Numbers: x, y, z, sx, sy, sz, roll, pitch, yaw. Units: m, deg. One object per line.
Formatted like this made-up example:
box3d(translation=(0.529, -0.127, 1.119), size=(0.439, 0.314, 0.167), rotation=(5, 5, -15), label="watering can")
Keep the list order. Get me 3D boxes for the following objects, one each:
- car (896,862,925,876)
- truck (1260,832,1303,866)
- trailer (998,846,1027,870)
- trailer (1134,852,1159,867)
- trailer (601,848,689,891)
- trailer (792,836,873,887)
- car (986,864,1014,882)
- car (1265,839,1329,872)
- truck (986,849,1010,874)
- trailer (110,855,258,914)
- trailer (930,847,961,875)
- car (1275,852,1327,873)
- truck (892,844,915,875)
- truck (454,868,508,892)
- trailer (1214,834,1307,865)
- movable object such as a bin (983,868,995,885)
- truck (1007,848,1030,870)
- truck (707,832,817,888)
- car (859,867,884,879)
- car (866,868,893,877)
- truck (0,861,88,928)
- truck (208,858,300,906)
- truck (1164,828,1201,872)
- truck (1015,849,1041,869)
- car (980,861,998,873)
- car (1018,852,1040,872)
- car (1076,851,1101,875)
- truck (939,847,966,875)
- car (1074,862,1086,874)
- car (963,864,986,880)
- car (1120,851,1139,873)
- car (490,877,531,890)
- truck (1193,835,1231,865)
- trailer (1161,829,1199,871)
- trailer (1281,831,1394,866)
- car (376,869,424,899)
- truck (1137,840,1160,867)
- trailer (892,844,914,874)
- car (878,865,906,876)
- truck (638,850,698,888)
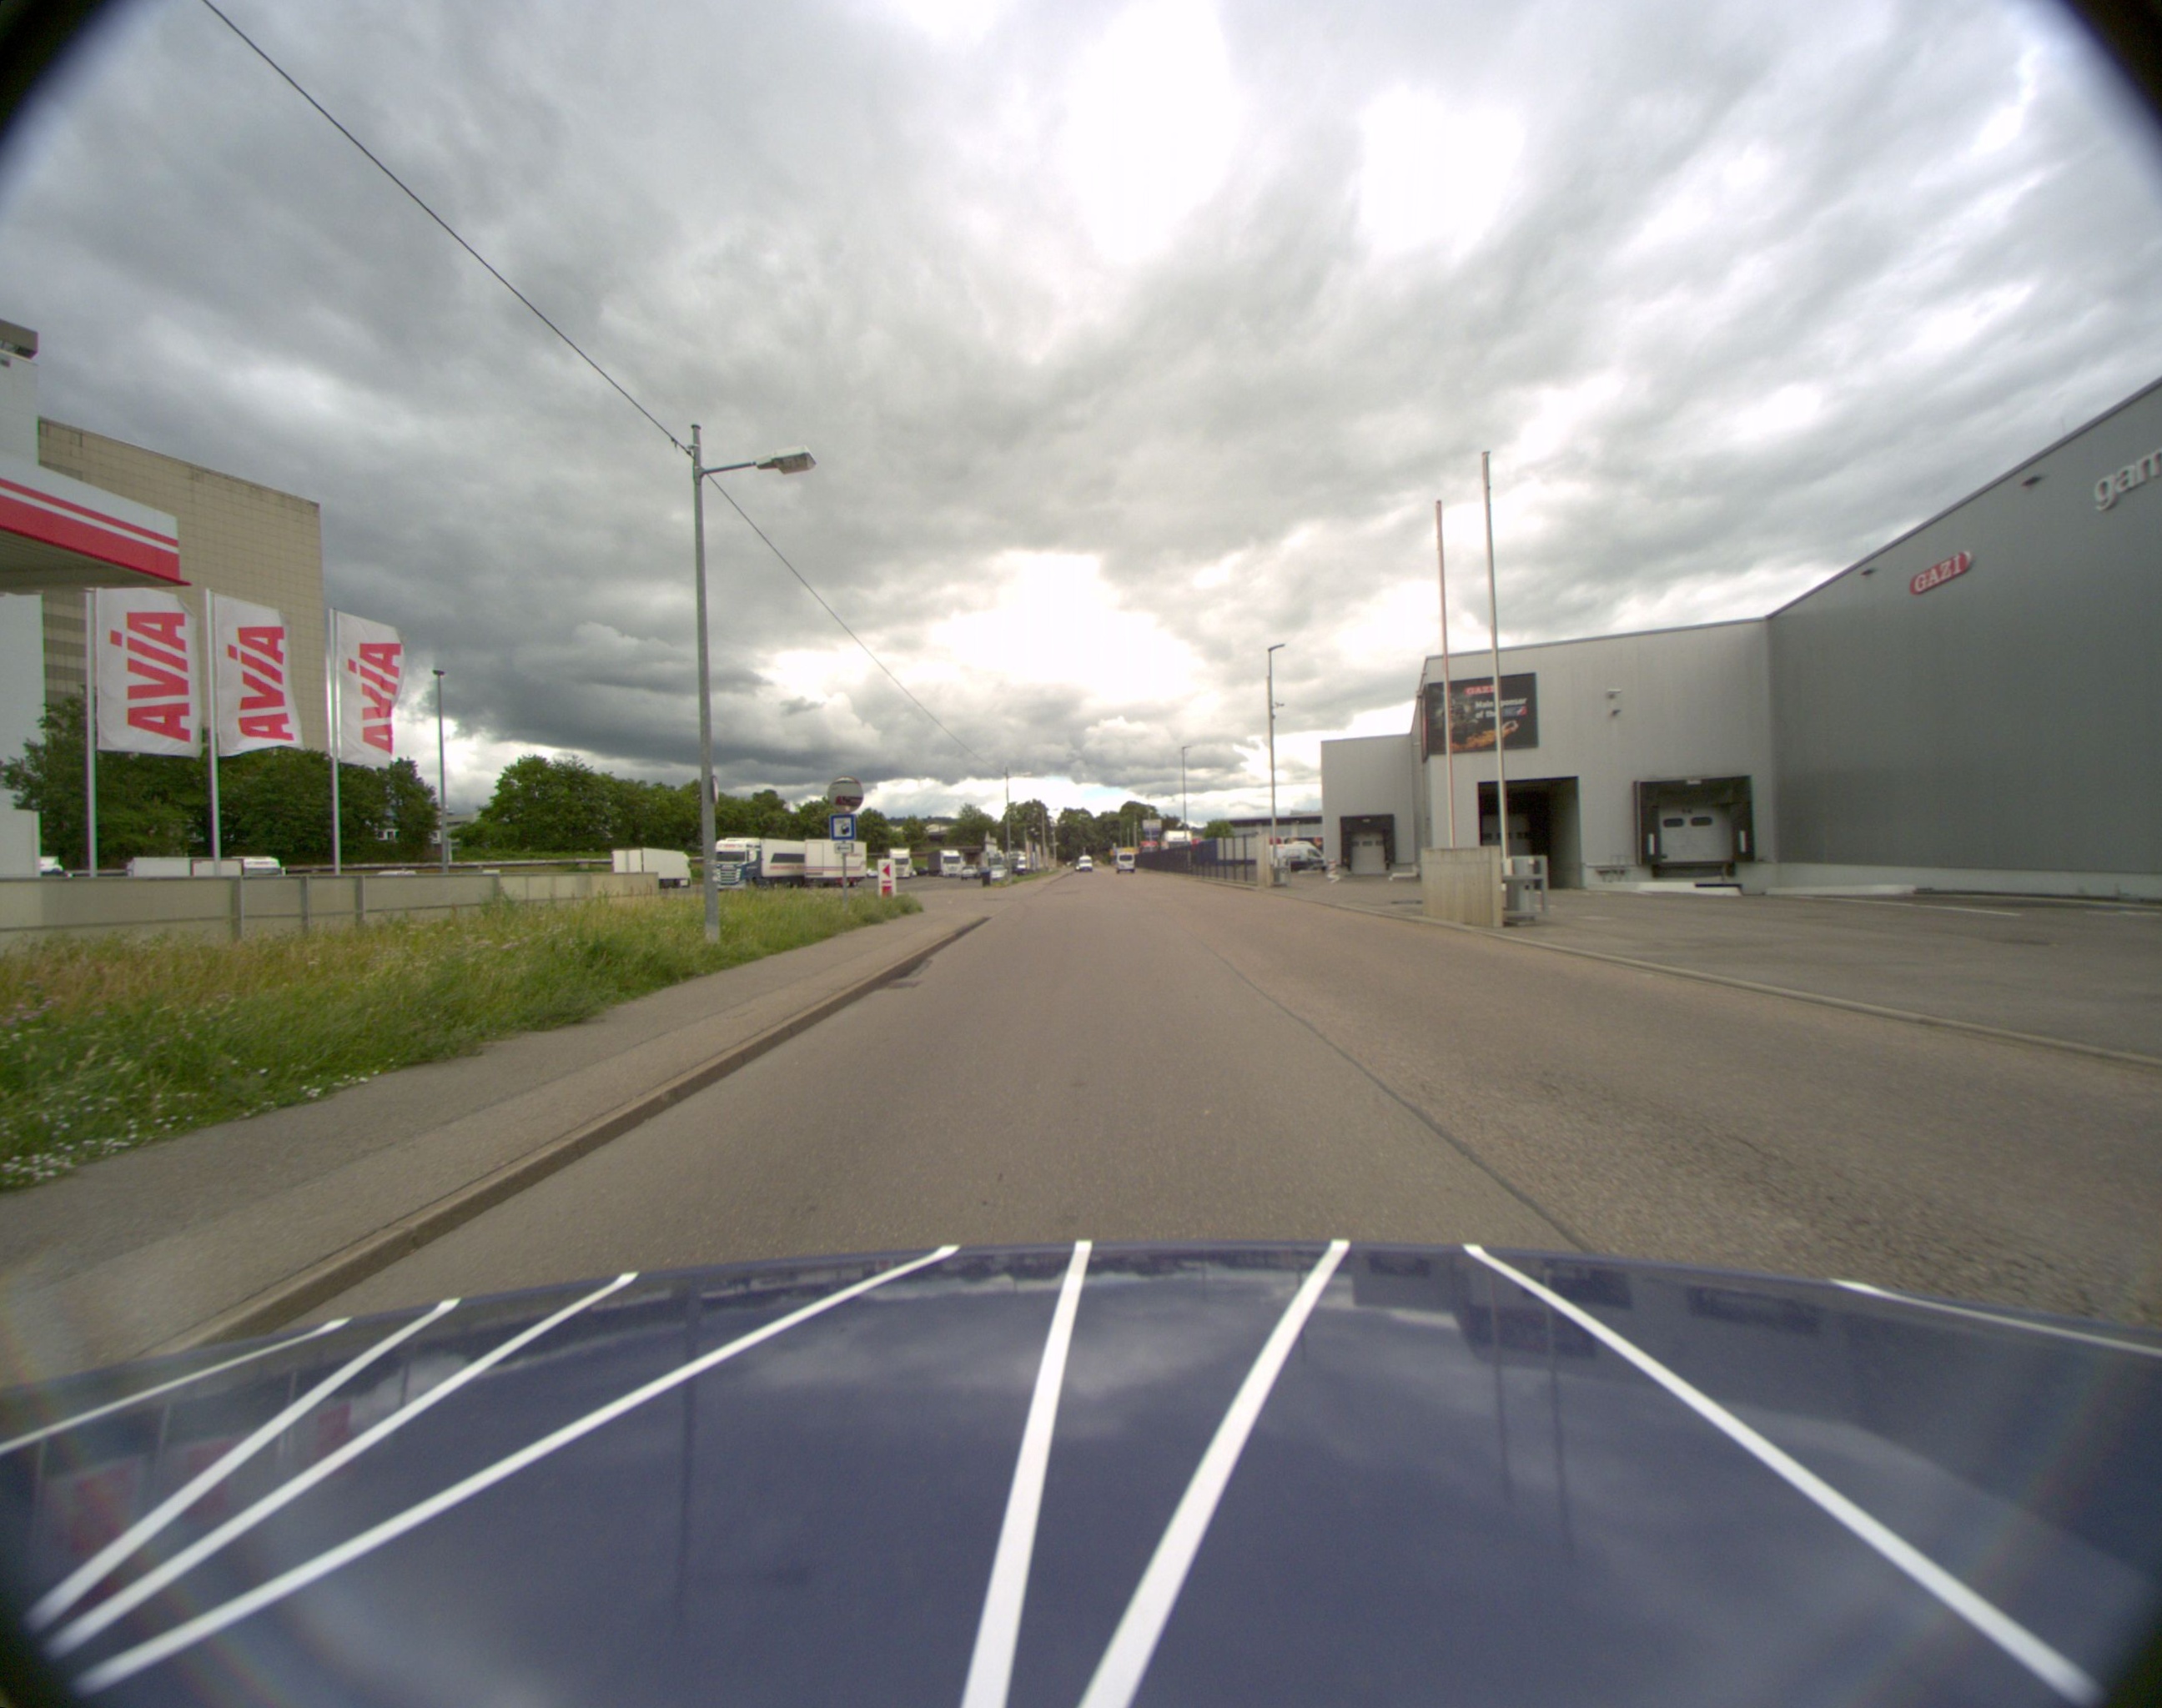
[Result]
box3d(translation=(-31.778, 2.736, 141.519), size=(4.907, 2.434, 2.375), rotation=(-2, 0, 32), label="car")
box3d(translation=(25.769, -0.614, 97.557), size=(4.870, 4.180, 3.053), rotation=(0, 0, 23), label="truck")
box3d(translation=(-12.200, 0.778, 134.079), size=(2.841, 4.070, 13.380), rotation=(-1, -1, -15), label="trailer")
box3d(translation=(9.923, 0.766, 116.535), size=(3.045, 2.179, 12.049), rotation=(0, 0, 1), label="trailer")
box3d(translation=(-43.578, 1.516, 76.659), size=(3.644, 3.887, 13.724), rotation=(-2, -1, -13), label="trailer")
box3d(translation=(-20.998, 0.623, 65.013), size=(2.964, 3.944, 10.408), rotation=(0, 0, 4), label="trailer")
box3d(translation=(-7.003, 1.648, 65.996), size=(1.778, 1.455, 4.560), rotation=(-2, 0, 1), label="car")
box3d(translation=(20.203, 0.137, 70.955), size=(5.423, 2.714, 2.244), rotation=(-4, -1, 20), label="car")
box3d(translation=(-13.607, 1.237, 123.752), size=(2.876, 3.990, 6.749), rotation=(-1, 0, -14), label="truck")
box3d(translation=(-70.074, 2.457, 59.138), size=(18.454, 4.148, 3.649), rotation=(-2, 0, 28), label="trailer")
box3d(translation=(-21.738, 1.168, 121.438), size=(2.842, 4.070, 13.376), rotation=(-1, -1, -19), label="trailer")
box3d(translation=(19.159, 0.721, 66.207), size=(4.072, 1.567, 1.947), rotation=(-4, -1, 22), label="car")
box3d(translation=(-24.232, 0.719, 103.753), size=(2.875, 4.070, 6.750), rotation=(-1, 0, -13), label="truck")
box3d(translation=(-65.109, 2.828, 82.456), size=(5.942, 2.476, 2.285), rotation=(0, 0, 27), label="truck")
box3d(translation=(24.380, -0.518, 103.469), size=(12.021, 4.108, 3.053), rotation=(0, 0, 19), label="trailer")
box3d(translation=(-5.948, 1.460, 48.908), size=(0.716, 1.075, 0.662), rotation=(-2, 0, -6), label="movable object such as a bin")
box3d(translation=(-10.589, 0.924, 127.902), size=(2.876, 3.608, 6.749), rotation=(-1, -1, -14), label="truck")
box3d(translation=(-25.074, 0.462, 60.797), size=(3.082, 3.944, 13.070), rotation=(0, 0, 1), label="truck")
box3d(translation=(-36.439, 3.320, 131.989), size=(3.989, 1.861, 2.004), rotation=(-2, 0, 31), label="car")
box3d(translation=(-35.764, 3.294, 134.728), size=(4.708, 1.431, 2.004), rotation=(-2, 0, 32), label="car")
box3d(translation=(-69.220, 2.628, 49.817), size=(7.238, 4.096, 3.718), rotation=(-2, 0, 27), label="truck")
box3d(translation=(-72.133, 2.458, 66.282), size=(7.238, 3.941, 3.718), rotation=(-2, 0, 29), label="truck")
box3d(translation=(9.958, -0.341, 74.898), size=(3.366, 4.136, 5.629), rotation=(0, 0, 5), label="truck")
box3d(translation=(-10.169, 0.984, 144.451), size=(2.832, 3.689, 9.091), rotation=(-2, 0, -17), label="truck")
box3d(translation=(-11.831, 1.694, 97.793), size=(1.497, 1.486, 4.054), rotation=(-2, 0, 3), label="car")
box3d(translation=(-6.663, 1.018, 97.642), size=(2.091, 2.401, 6.084), rotation=(-2, 0, 3), label="car")
box3d(translation=(1.146, 1.471, 120.593), size=(3.339, 3.586, 8.669), rotation=(-2, 0, -2), label="car")
box3d(translation=(-19.391, 1.020, 114.591), size=(2.877, 4.070, 6.747), rotation=(-1, 0, -19), label="truck")
box3d(translation=(-0.171, 2.426, 133.841), size=(1.712, 2.002, 3.889), rotation=(-2, 0, -4), label="car")
box3d(translation=(-11.757, 1.978, 84.015), size=(1.769, 1.561, 4.000), rotation=(-4, 0, 1), label="car")
box3d(translation=(5.697, 0.972, 89.292), size=(1.998, 2.401, 5.259), rotation=(-3, -1, 5), label="car")
box3d(translation=(-63.201, 3.232, 84.202), size=(4.137, 1.346, 2.004), rotation=(-2, 0, 27), label="car")
box3d(translation=(18.053, -0.507, 104.942), size=(4.878, 4.108, 3.049), rotation=(0, 0, 2), label="truck")
box3d(translation=(10.528, -0.337, 81.875), size=(3.366, 4.135, 13.853), rotation=(0, 0, 5), label="trailer")
box3d(translation=(31.919, -0.661, 94.920), size=(13.158, 4.188, 3.053), rotation=(0, 0, 23), label="trailer")
box3d(translation=(-66.800, 2.937, 74.513), size=(5.073, 2.820, 2.112), rotation=(-2, 0, 32), label="car")
box3d(translation=(9.765, -0.067, 110.896), size=(3.021, 3.826, 5.671), rotation=(0, 0, 1), label="truck")
box3d(translation=(-25.628, 0.808, 109.723), size=(2.841, 4.070, 13.382), rotation=(-1, -1, -13), label="trailer")
box3d(translation=(-33.954, 2.935, 136.381), size=(4.708, 1.881, 2.004), rotation=(-2, 0, 32), label="car")
box3d(translation=(-45.006, 1.626, 83.059), size=(3.632, 3.856, 7.249), rotation=(-2, 0, -12), label="truck")
